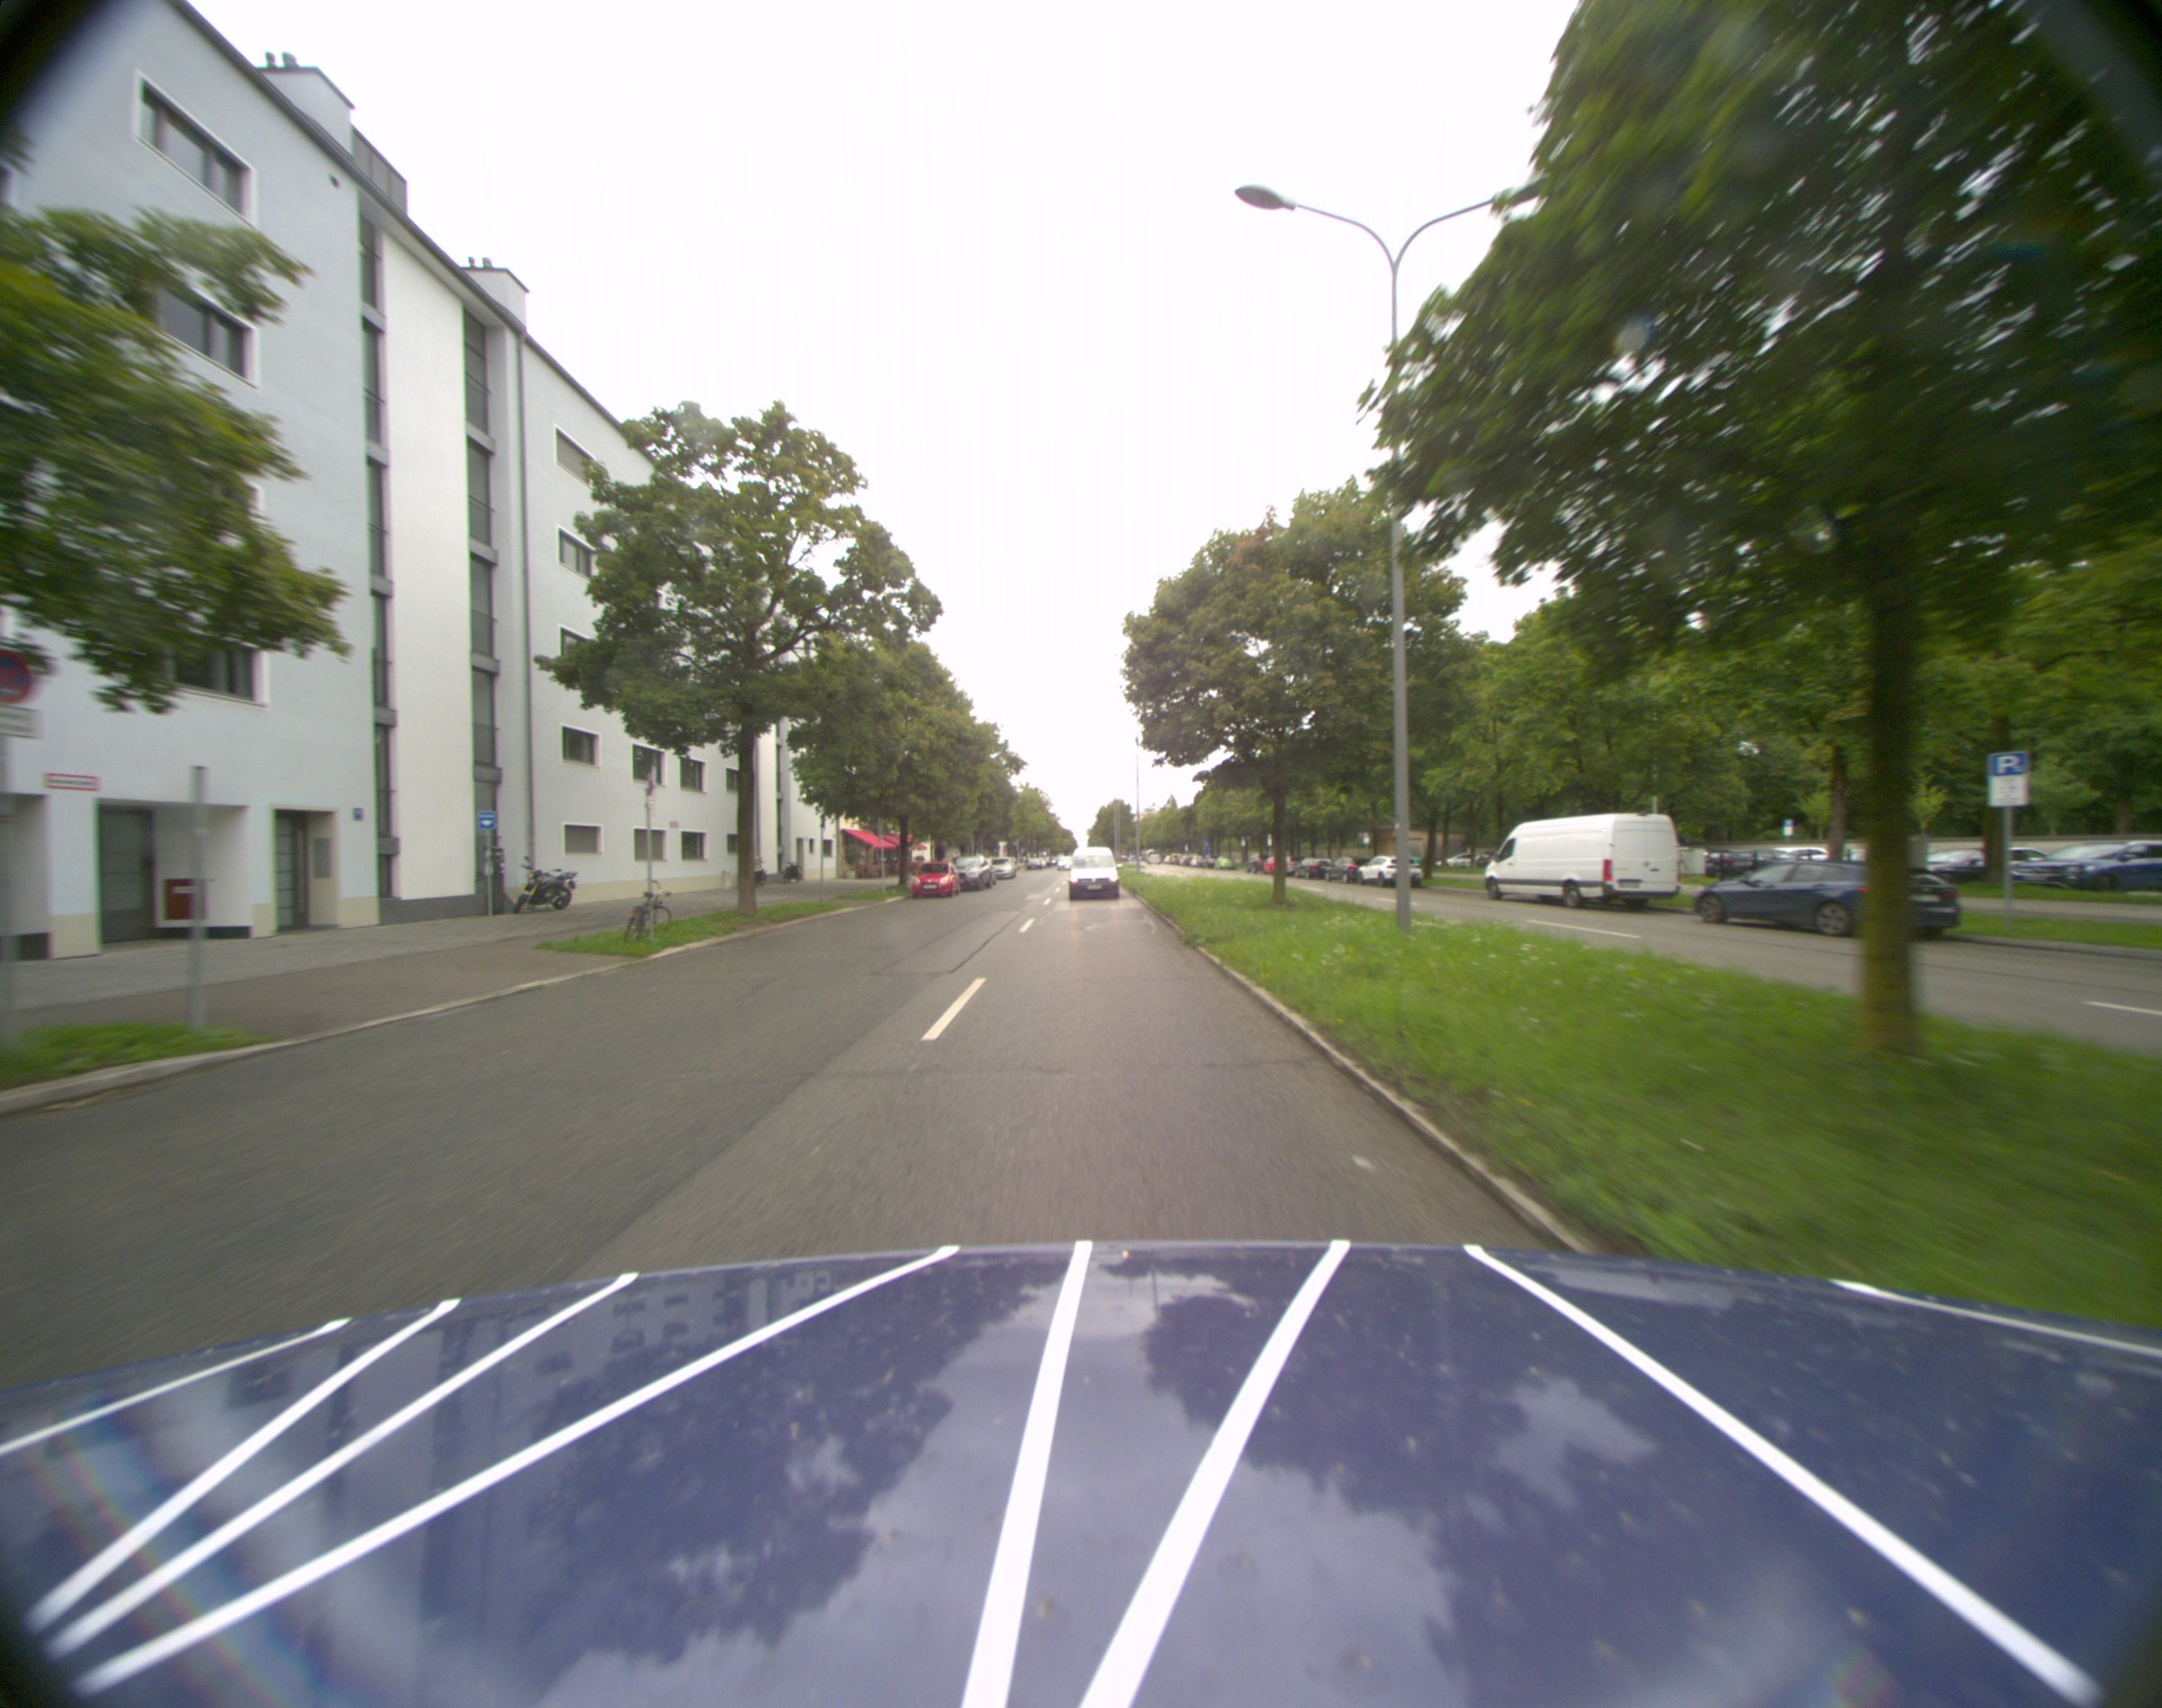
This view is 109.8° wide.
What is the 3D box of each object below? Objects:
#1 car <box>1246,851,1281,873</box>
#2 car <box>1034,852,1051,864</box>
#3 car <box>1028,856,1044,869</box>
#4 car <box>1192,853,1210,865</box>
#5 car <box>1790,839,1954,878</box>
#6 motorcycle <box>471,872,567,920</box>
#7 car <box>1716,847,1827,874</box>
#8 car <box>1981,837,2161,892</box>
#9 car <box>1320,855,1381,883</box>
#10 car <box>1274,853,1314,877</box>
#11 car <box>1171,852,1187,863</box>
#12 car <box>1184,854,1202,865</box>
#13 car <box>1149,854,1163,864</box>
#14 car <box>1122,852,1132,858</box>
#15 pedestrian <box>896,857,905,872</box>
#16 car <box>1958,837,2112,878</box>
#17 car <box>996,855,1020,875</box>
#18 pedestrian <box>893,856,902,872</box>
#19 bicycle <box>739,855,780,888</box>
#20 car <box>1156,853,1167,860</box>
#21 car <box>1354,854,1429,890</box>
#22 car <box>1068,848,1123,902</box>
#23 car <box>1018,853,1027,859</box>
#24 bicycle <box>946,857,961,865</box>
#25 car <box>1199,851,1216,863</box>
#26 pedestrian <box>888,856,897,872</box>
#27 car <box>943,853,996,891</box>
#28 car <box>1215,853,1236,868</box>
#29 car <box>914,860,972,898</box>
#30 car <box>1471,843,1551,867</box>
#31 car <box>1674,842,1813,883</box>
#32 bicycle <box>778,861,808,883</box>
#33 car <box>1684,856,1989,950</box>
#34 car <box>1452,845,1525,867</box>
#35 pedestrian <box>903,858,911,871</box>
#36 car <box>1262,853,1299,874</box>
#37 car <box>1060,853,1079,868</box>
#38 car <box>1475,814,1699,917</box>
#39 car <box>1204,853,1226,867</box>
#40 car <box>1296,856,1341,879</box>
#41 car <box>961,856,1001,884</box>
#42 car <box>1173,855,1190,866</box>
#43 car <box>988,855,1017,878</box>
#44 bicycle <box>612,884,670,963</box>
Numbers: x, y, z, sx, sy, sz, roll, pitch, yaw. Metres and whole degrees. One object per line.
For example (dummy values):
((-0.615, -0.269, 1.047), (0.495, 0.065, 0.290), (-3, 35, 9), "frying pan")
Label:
((15.323, 0.664, 63.970), (1.826, 1.690, 4.238), (-1, 1, -1), "car")
((-5.175, 0.540, 102.651), (1.826, 1.428, 4.287), (-3, 0, 1), "car")
((-5.437, 0.998, 91.641), (1.648, 1.468, 3.956), (-2, 0, -1), "car")
((15.930, 0.642, 101.213), (1.826, 1.468, 4.260), (2, 0, 1), "car")
((28.834, 0.156, 27.789), (3.996, 1.331, 1.815), (-1, 0, 3), "car")
((-14.180, 1.031, 19.265), (0.763, 1.079, 2.199), (0, 0, 1), "motorcycle")
((39.559, 0.349, 43.612), (4.517, 1.434, 2.000), (-1, 0, 0), "car")
((28.182, 0.265, 21.095), (3.995, 1.429, 1.815), (-1, 0, 5), "car")
((14.985, 0.824, 42.469), (1.826, 1.439, 3.999), (1, 0, -2), "car")
((15.156, 0.770, 54.160), (1.826, 1.590, 4.113), (-1, 0, 2), "car")
((16.021, 0.506, 124.666), (1.862, 1.761, 4.533), (0, 0, -2), "car")
((15.716, 0.772, 106.868), (1.826, 1.438, 3.787), (2, 0, -2), "car")
((12.615, 0.807, 127.822), (1.855, 1.591, 4.402), (1, 0, 1), "car")
((10.734, 0.270, 177.516), (1.820, 1.440, 4.781), (0, 0, 0), "car")
((-15.030, 0.873, 63.267), (0.539, 1.207, 0.487), (-1, 1, 1), "pedestrian")
((40.082, 0.138, 32.013), (3.995, 1.643, 1.771), (-1, 1, 5), "car")
((-5.930, 0.865, 61.867), (1.834, 1.464, 3.886), (-1, 0, -4), "car")
((-15.036, 0.817, 62.278), (0.539, 1.261, 0.487), (-1, 1, 0), "pedestrian")
((-14.624, 0.753, 34.623), (0.704, 1.399, 2.592), (3, 0, 1), "bicycle")
((16.549, 0.478, 156.498), (1.717, 1.401, 4.041), (0, 0, -2), "car")
((15.011, 0.813, 36.968), (1.826, 1.519, 4.297), (1, 1, -1), "car")
((0.516, 0.690, 28.071), (1.772, 1.742, 4.545), (-3, 0, 0), "car")
((-14.171, 0.478, 183.704), (1.827, 1.460, 4.300), (-1, 0, 1), "car")
((-17.888, 0.936, 106.736), (2.032, 1.061, 0.663), (-1, 1, -4), "bicycle")
((15.981, 0.404, 96.136), (1.654, 1.414, 3.687), (2, 0, 1), "car")
((-15.124, 0.797, 61.060), (0.539, 1.331, 0.552), (-1, 1, 0), "pedestrian")
((-5.516, 0.855, 37.972), (1.834, 1.736, 4.508), (-1, 0, 1), "car")
((15.548, 0.664, 81.827), (1.644, 1.490, 4.000), (1, 0, 2), "car")
((-5.792, 1.029, 32.259), (1.525, 1.433, 4.000), (-1, 0, 3), "car")
((27.999, 0.052, 49.572), (4.146, 1.434, 2.000), (-1, 0, -2), "car")
((26.714, 0.335, 30.740), (3.996, 1.561, 1.815), (-1, 1, 2), "car")
((-14.736, 0.909, 38.891), (0.623, 1.040, 2.195), (3, 0, 1), "bicycle")
((14.772, 0.856, 15.281), (1.862, 1.482, 4.250), (-1, 1, -1), "car")
((28.391, 0.157, 53.054), (3.997, 1.434, 2.000), (-1, 0, -1), "car")
((-14.846, 0.889, 64.827), (0.539, 1.048, 0.487), (-1, 1, 1), "pedestrian")
((15.564, 0.716, 59.465), (1.826, 1.471, 3.808), (-1, 1, -1), "car")
((-1.276, 0.675, 84.560), (1.984, 1.591, 4.402), (1, 0, 1), "car")
((14.911, 0.299, 23.178), (2.145, 2.628, 7.105), (1, 0, 1), "car")
((15.850, 0.737, 89.959), (1.826, 1.621, 4.456), (0, 0, 0), "car")
((15.174, 0.834, 48.769), (1.825, 1.401, 4.000), (1, 0, 3), "car")
((-5.706, 0.879, 43.907), (1.834, 1.513, 3.770), (-1, 0, -1), "car")
((15.595, 1.037, 118.535), (2.007, 1.607, 4.041), (0, 0, -2), "car")
((-5.769, 0.891, 56.282), (1.834, 1.513, 4.522), (-2, 0, -3), "car")
((-8.073, 1.219, 14.015), (0.456, 1.248, 2.146), (-1, 0, -18), "bicycle")
